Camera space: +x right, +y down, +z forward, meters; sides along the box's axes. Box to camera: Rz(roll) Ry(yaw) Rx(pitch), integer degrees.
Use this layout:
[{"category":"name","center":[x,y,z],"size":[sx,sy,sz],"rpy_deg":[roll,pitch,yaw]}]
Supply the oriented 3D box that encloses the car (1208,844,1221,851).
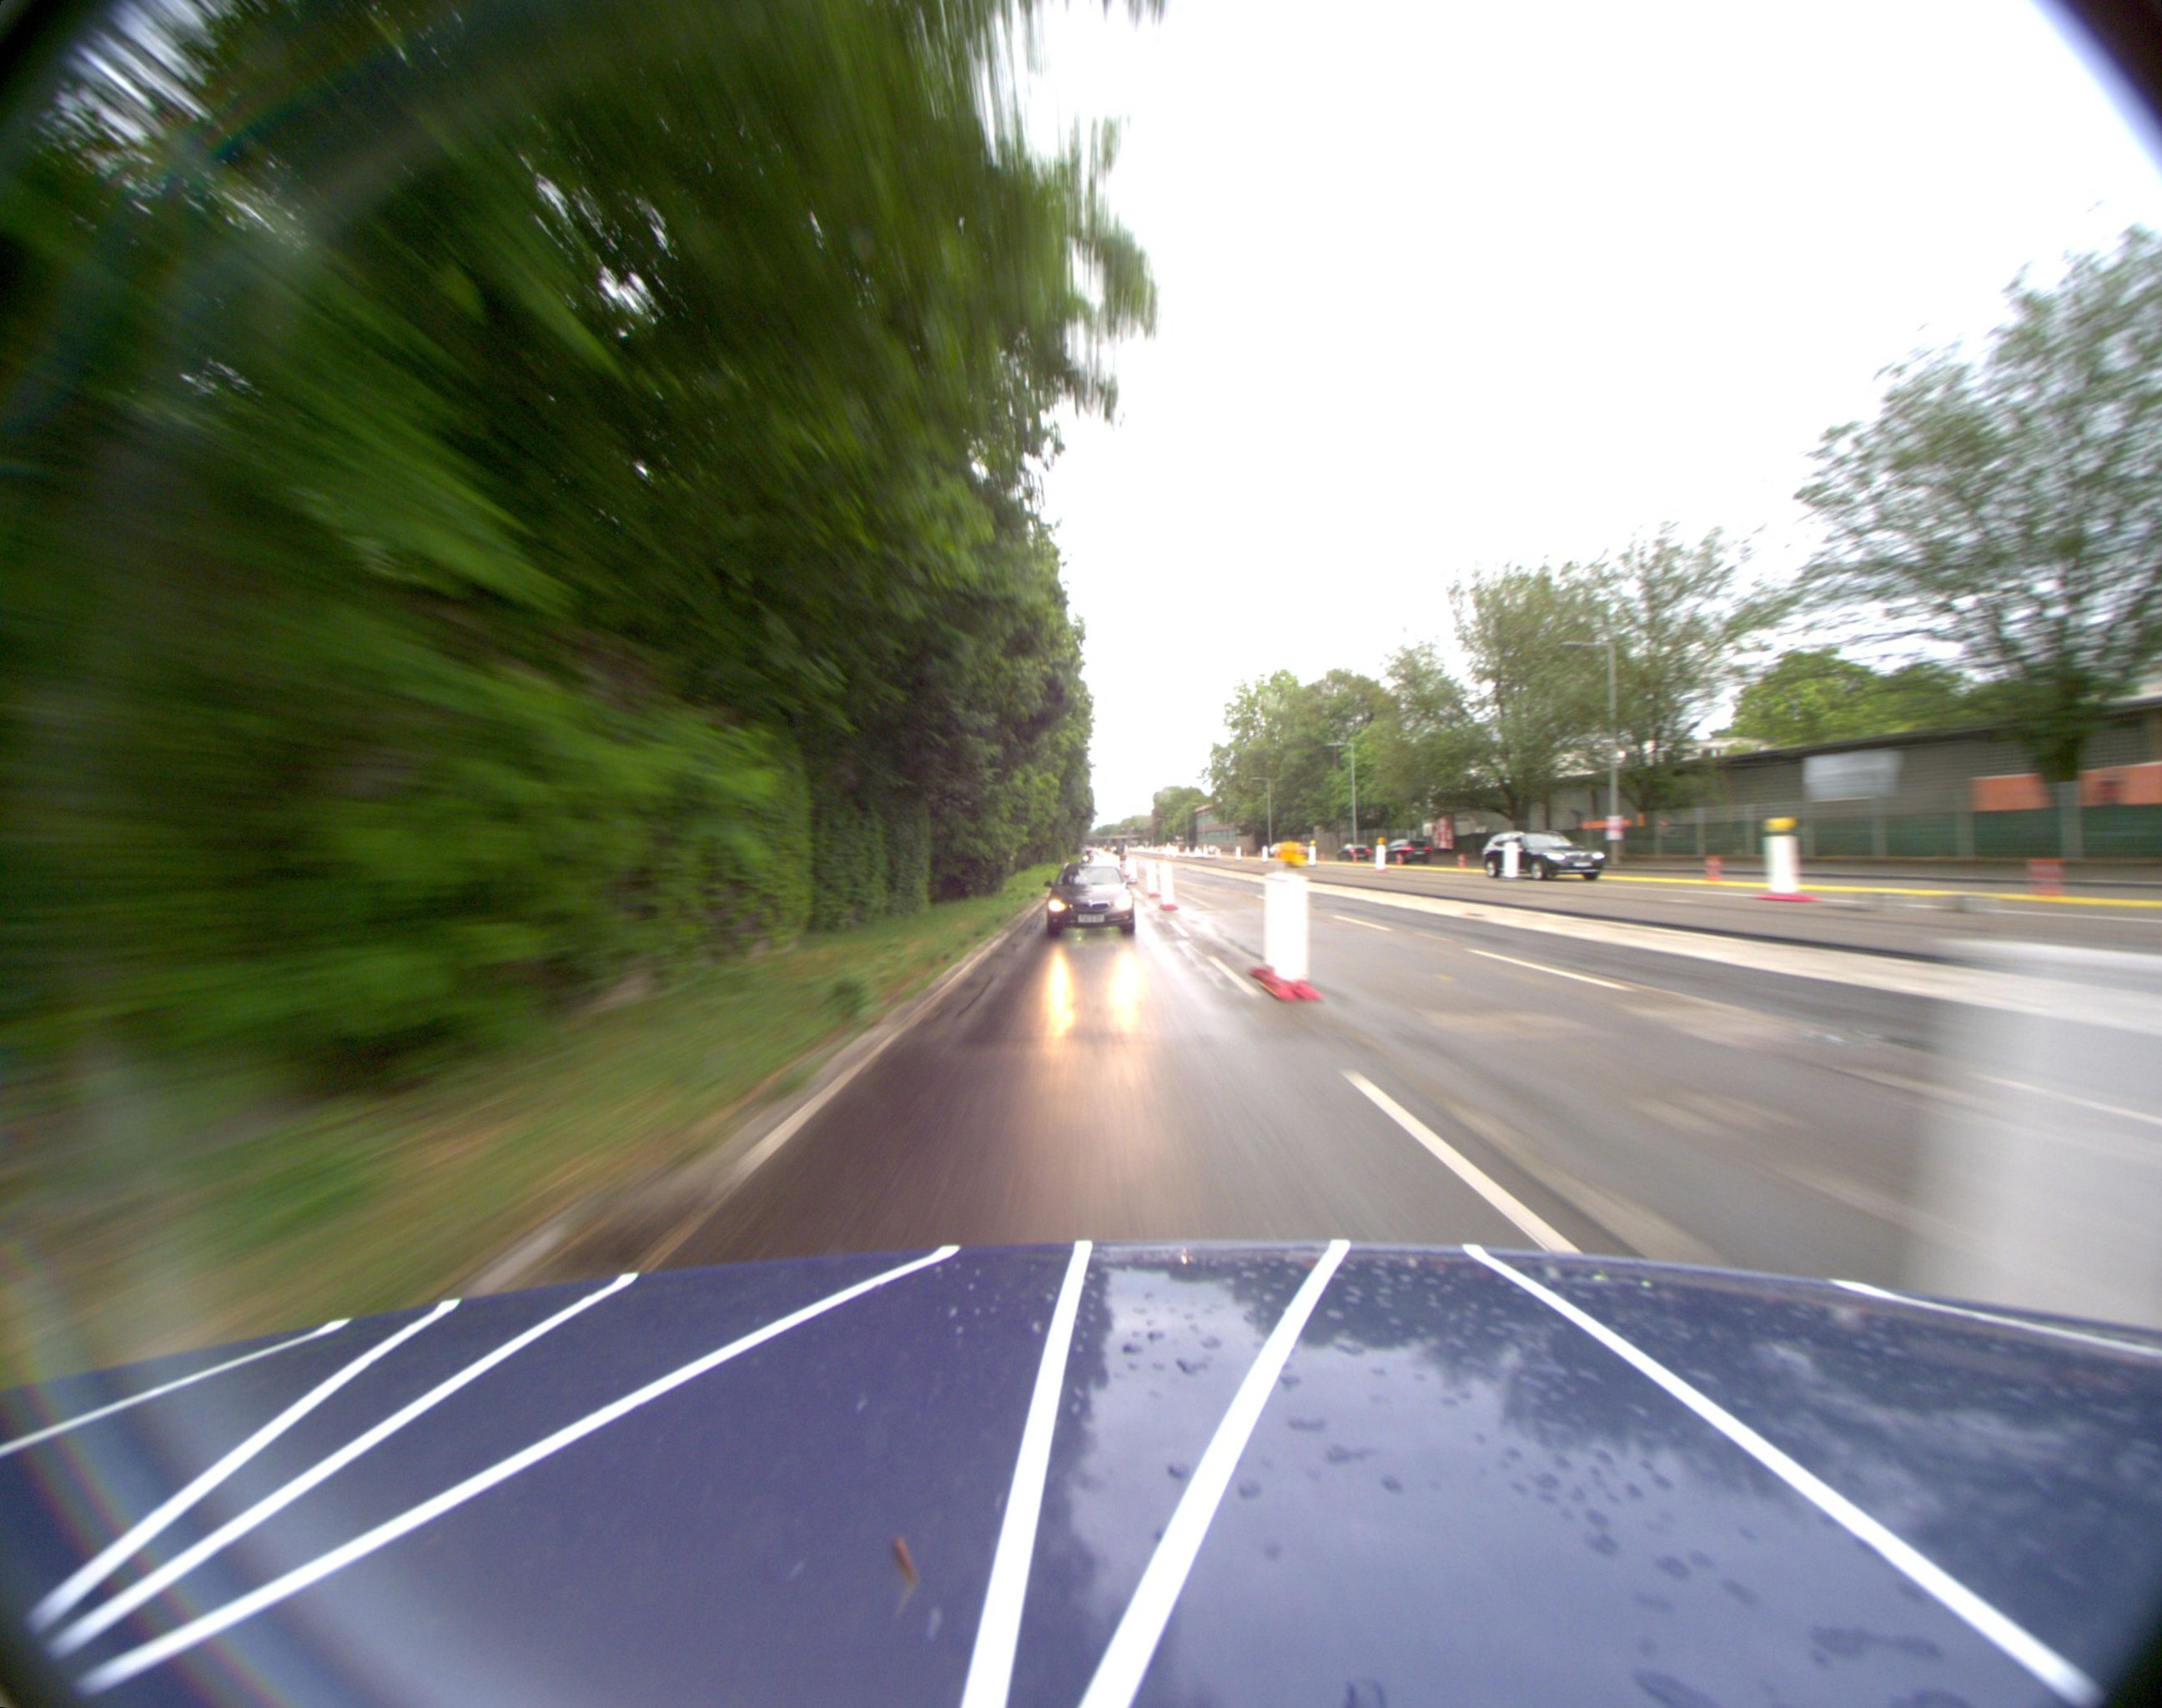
[{"category":"car","center":[23.759,-1.186,135.560],"size":[1.671,1.308,4.454],"rpy_deg":[0,1,2]}]

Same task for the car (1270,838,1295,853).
[{"category":"car","center":[22.870,-0.984,86.423],"size":[1.863,1.696,4.364],"rpy_deg":[0,1,1]}]

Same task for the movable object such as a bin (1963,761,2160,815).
[{"category":"movable object such as a bin","center":[34.083,-2.237,26.618],"size":[4.012,1.519,1.756],"rpy_deg":[-2,1,44]}]

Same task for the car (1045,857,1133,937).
[{"category":"car","center":[0.215,0.903,17.783],"size":[1.742,1.454,4.457],"rpy_deg":[-3,1,1]}]

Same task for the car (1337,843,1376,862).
[{"category":"car","center":[22.499,-0.135,62.155],"size":[1.863,1.467,3.731],"rpy_deg":[0,1,1]}]

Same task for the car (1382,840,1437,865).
[{"category":"car","center":[21.999,-0.148,51.076],"size":[1.863,1.621,4.328],"rpy_deg":[0,1,1]}]

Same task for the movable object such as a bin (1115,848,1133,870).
[{"category":"movable object such as a bin","center":[6.331,0.662,112.942],"size":[1.999,3.084,5.622],"rpy_deg":[-3,1,-2]}]

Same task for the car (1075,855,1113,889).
[{"category":"car","center":[0.675,0.877,38.390],"size":[1.742,1.454,4.457],"rpy_deg":[-3,1,1]}]

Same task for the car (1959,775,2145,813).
[{"category":"car","center":[35.653,-2.167,28.093],"size":[4.012,1.056,1.756],"rpy_deg":[-2,1,44]}]

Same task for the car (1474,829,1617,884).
[{"category":"car","center":[15.613,0.064,25.920],"size":[1.998,1.696,4.984],"rpy_deg":[0,0,3]}]

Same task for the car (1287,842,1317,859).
[{"category":"car","center":[21.990,-0.369,75.724],"size":[1.863,1.610,4.364],"rpy_deg":[0,1,1]}]
